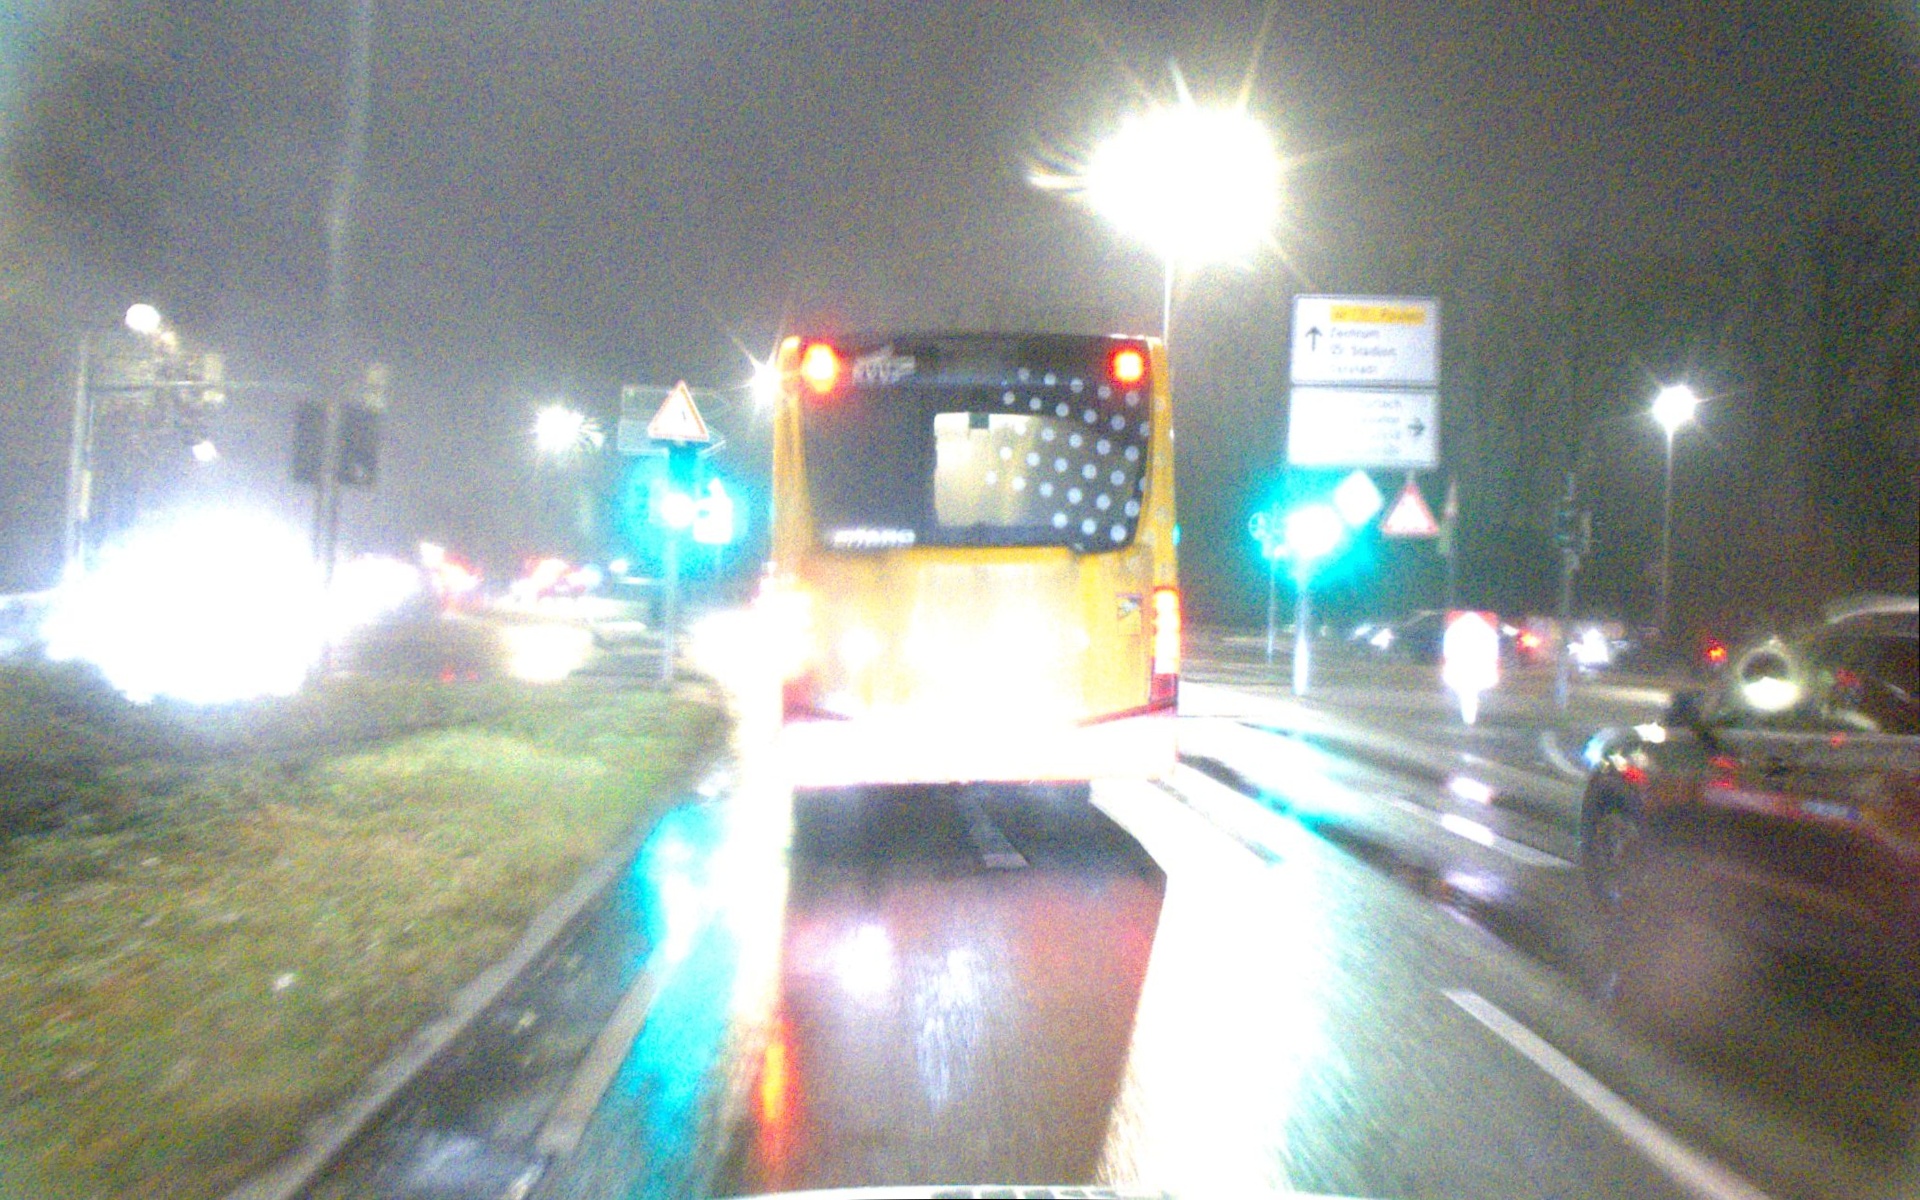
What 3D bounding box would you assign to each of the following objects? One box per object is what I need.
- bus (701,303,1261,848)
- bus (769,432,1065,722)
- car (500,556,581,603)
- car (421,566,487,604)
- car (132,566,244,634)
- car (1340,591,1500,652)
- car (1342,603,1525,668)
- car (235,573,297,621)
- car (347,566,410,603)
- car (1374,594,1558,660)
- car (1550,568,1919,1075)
[{"bbox_3d":[-0.106,-0.236,14.275,3.219,3.103,9.539,0,1,-3],"label":"bus"},{"bbox_3d":[-0.968,-0.353,23.317,3.186,3.174,8.632,3,1,-7],"label":"bus"},{"bbox_3d":[-16.066,-0.783,63.234,1.799,1.646,3.955,3,-1,-33],"label":"car"},{"bbox_3d":[-23.370,-0.707,76.272,1.800,1.646,3.952,3,-1,-34],"label":"car"},{"bbox_3d":[-17.987,-0.042,38.705,1.762,1.482,4.555,-1,1,-18],"label":"car"},{"bbox_3d":[13.361,0.614,48.179,4.083,1.545,1.855,2,1,-5],"label":"car"},{"bbox_3d":[11.680,0.855,40.955,3.963,1.369,1.745,2,1,-5],"label":"car"},{"bbox_3d":[-22.574,-0.075,53.774,1.766,1.482,4.544,-1,0,-23],"label":"car"},{"bbox_3d":[-29.653,-0.795,84.259,2.070,1.672,3.687,6,-2,-33],"label":"car"},{"bbox_3d":[13.761,0.733,45.108,4.395,1.545,1.855,2,1,-5],"label":"car"},{"bbox_3d":[3.742,0.716,5.991,1.643,1.548,3.958,2,-1,-2],"label":"car"}]
